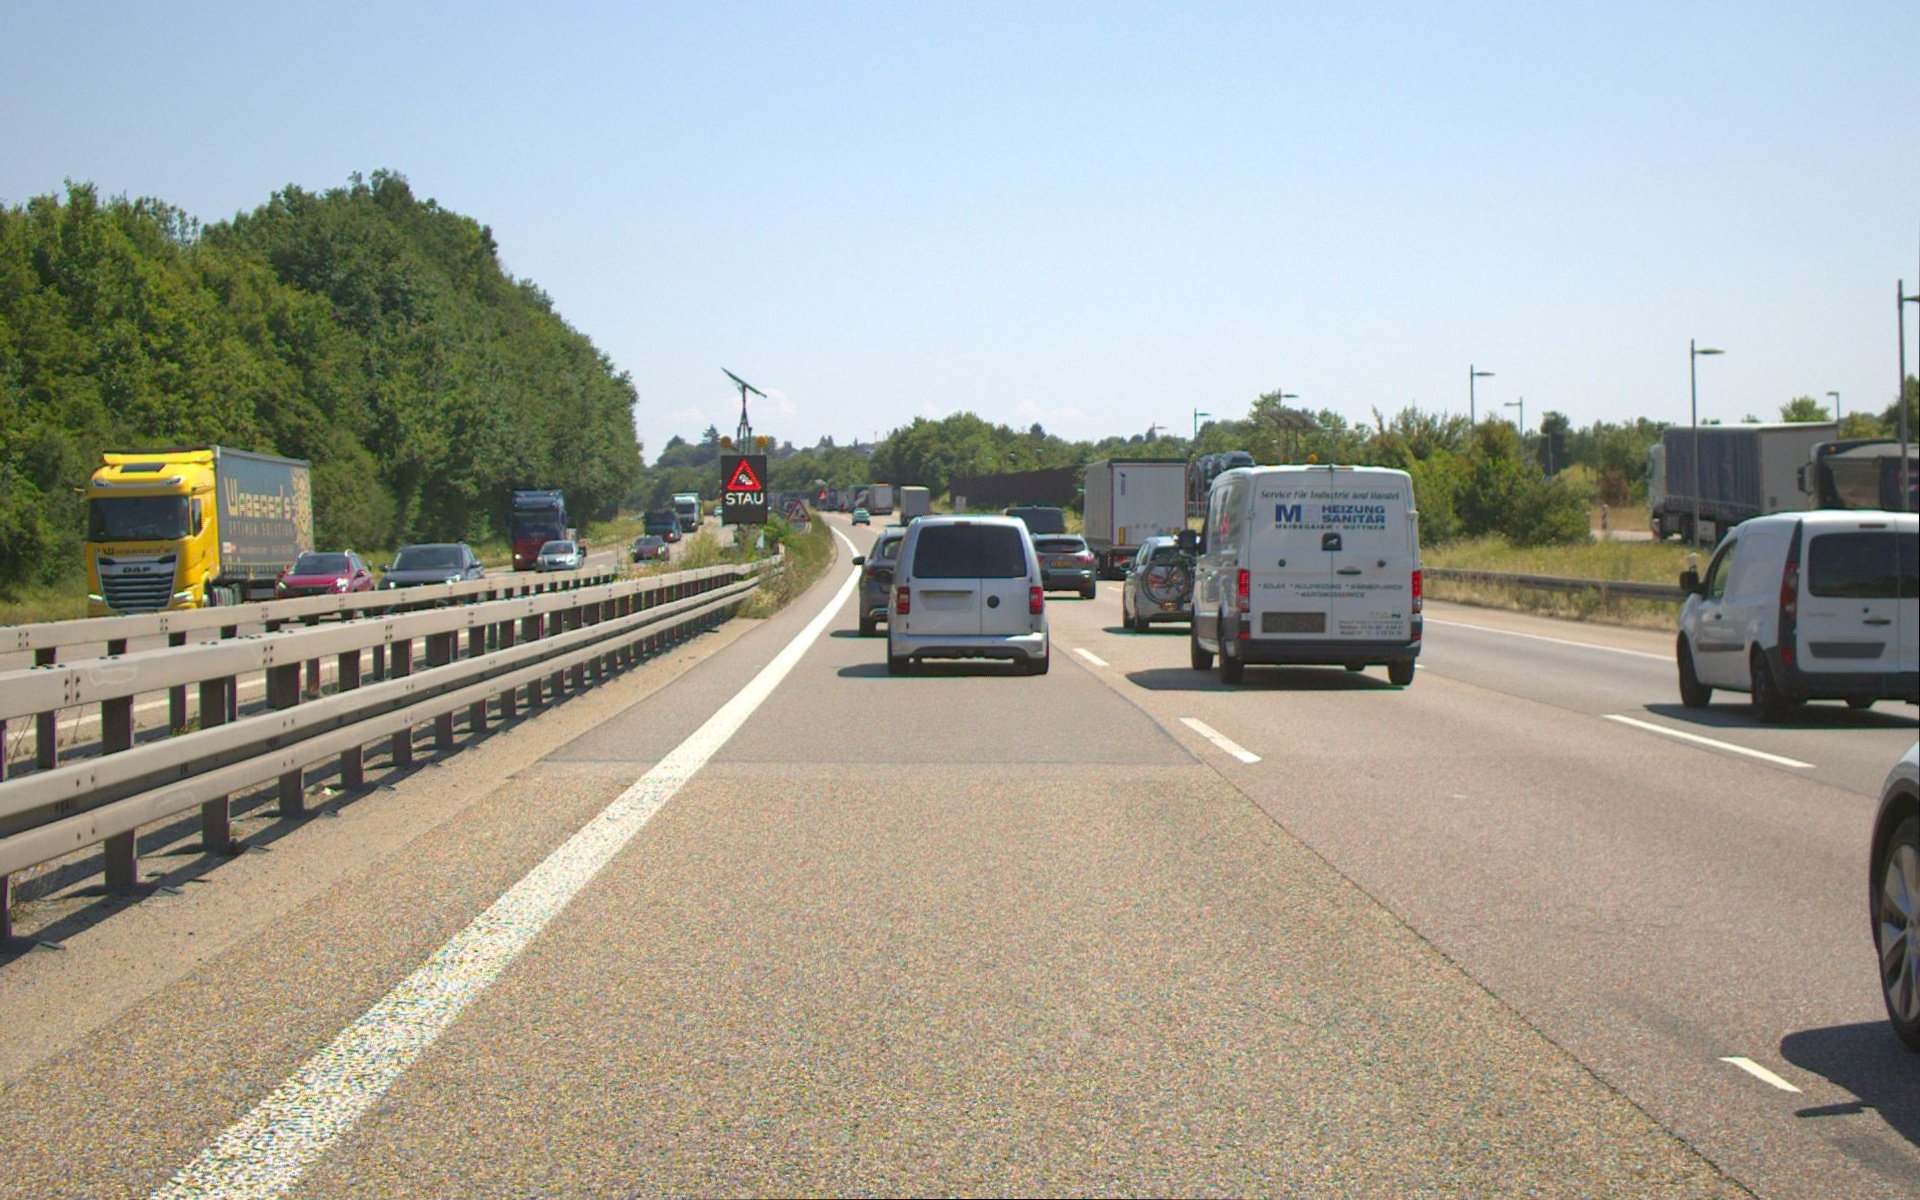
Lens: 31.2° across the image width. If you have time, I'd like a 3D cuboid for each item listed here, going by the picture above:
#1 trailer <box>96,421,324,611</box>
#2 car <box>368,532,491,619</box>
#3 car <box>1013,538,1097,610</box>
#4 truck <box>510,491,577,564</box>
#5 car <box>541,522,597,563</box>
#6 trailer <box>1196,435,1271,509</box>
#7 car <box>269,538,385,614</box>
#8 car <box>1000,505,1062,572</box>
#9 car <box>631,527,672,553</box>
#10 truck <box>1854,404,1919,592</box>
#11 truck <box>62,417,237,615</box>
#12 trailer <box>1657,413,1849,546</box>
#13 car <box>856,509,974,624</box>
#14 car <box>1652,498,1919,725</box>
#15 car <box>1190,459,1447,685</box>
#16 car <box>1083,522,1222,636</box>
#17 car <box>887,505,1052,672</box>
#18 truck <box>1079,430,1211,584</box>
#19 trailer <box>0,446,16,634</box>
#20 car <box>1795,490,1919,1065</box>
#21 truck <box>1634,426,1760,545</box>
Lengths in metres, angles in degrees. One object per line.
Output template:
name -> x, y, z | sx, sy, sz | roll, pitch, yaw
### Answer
trailer -> -18.580, -2.083, 86.182 | 3.174, 4.326, 13.814 | -1, 1, -2
car -> -10.233, -0.496, 66.574 | 1.782, 1.619, 4.000 | -1, 1, -1
car -> 2.281, -0.646, 83.451 | 1.902, 1.666, 4.089 | -1, 1, 0
truck -> -20.638, -3.582, 170.464 | 2.996, 3.546, 3.118 | -1, 1, -1
car -> -15.483, -2.285, 136.354 | 1.782, 1.525, 3.884 | -3, 1, -1
trailer -> 16.947, -7.858, 214.345 | 2.605, 4.243, 18.424 | 1, 1, -2
car -> -14.034, -0.555, 76.442 | 1.782, 1.525, 4.385 | -3, 1, -1
car -> 2.068, -1.806, 101.059 | 1.674, 1.885, 4.089 | -1, 1, 0
car -> -16.765, -3.247, 186.911 | 1.769, 1.330, 4.922 | -2, 1, -1
truck -> 23.366, -2.279, 80.601 | 3.790, 4.069, 12.513 | 1, 1, 11
truck -> -18.222, -1.881, 77.507 | 3.174, 4.326, 3.514 | -1, 1, -2
trailer -> 26.037, -3.856, 113.760 | 3.052, 4.069, 14.259 | 1, 1, 0
car -> -0.662, -0.539, 53.354 | 1.745, 1.695, 4.089 | -1, 1, 0
car -> 7.536, 0.048, 30.111 | 1.950, 1.831, 4.179 | -1, 1, -2
car -> 3.773, -0.331, 37.161 | 2.181, 2.246, 5.363 | 1, 1, 0
car -> 3.046, -0.365, 55.183 | 1.976, 1.727, 4.089 | -1, 1, 0
car -> 0.094, -0.164, 39.025 | 1.745, 1.758, 4.089 | -1, 1, 0
truck -> 6.287, -3.171, 118.965 | 3.788, 4.982, 12.519 | 1, 1, 0
trailer -> -18.171, -0.951, 56.116 | 2.914, 3.289, 9.711 | -1, 1, -1
car -> 3.736, 0.549, 8.284 | 1.950, 1.630, 5.601 | 1, 1, -1
truck -> 26.045, -4.003, 121.828 | 3.052, 4.069, 6.398 | 1, 1, 0
